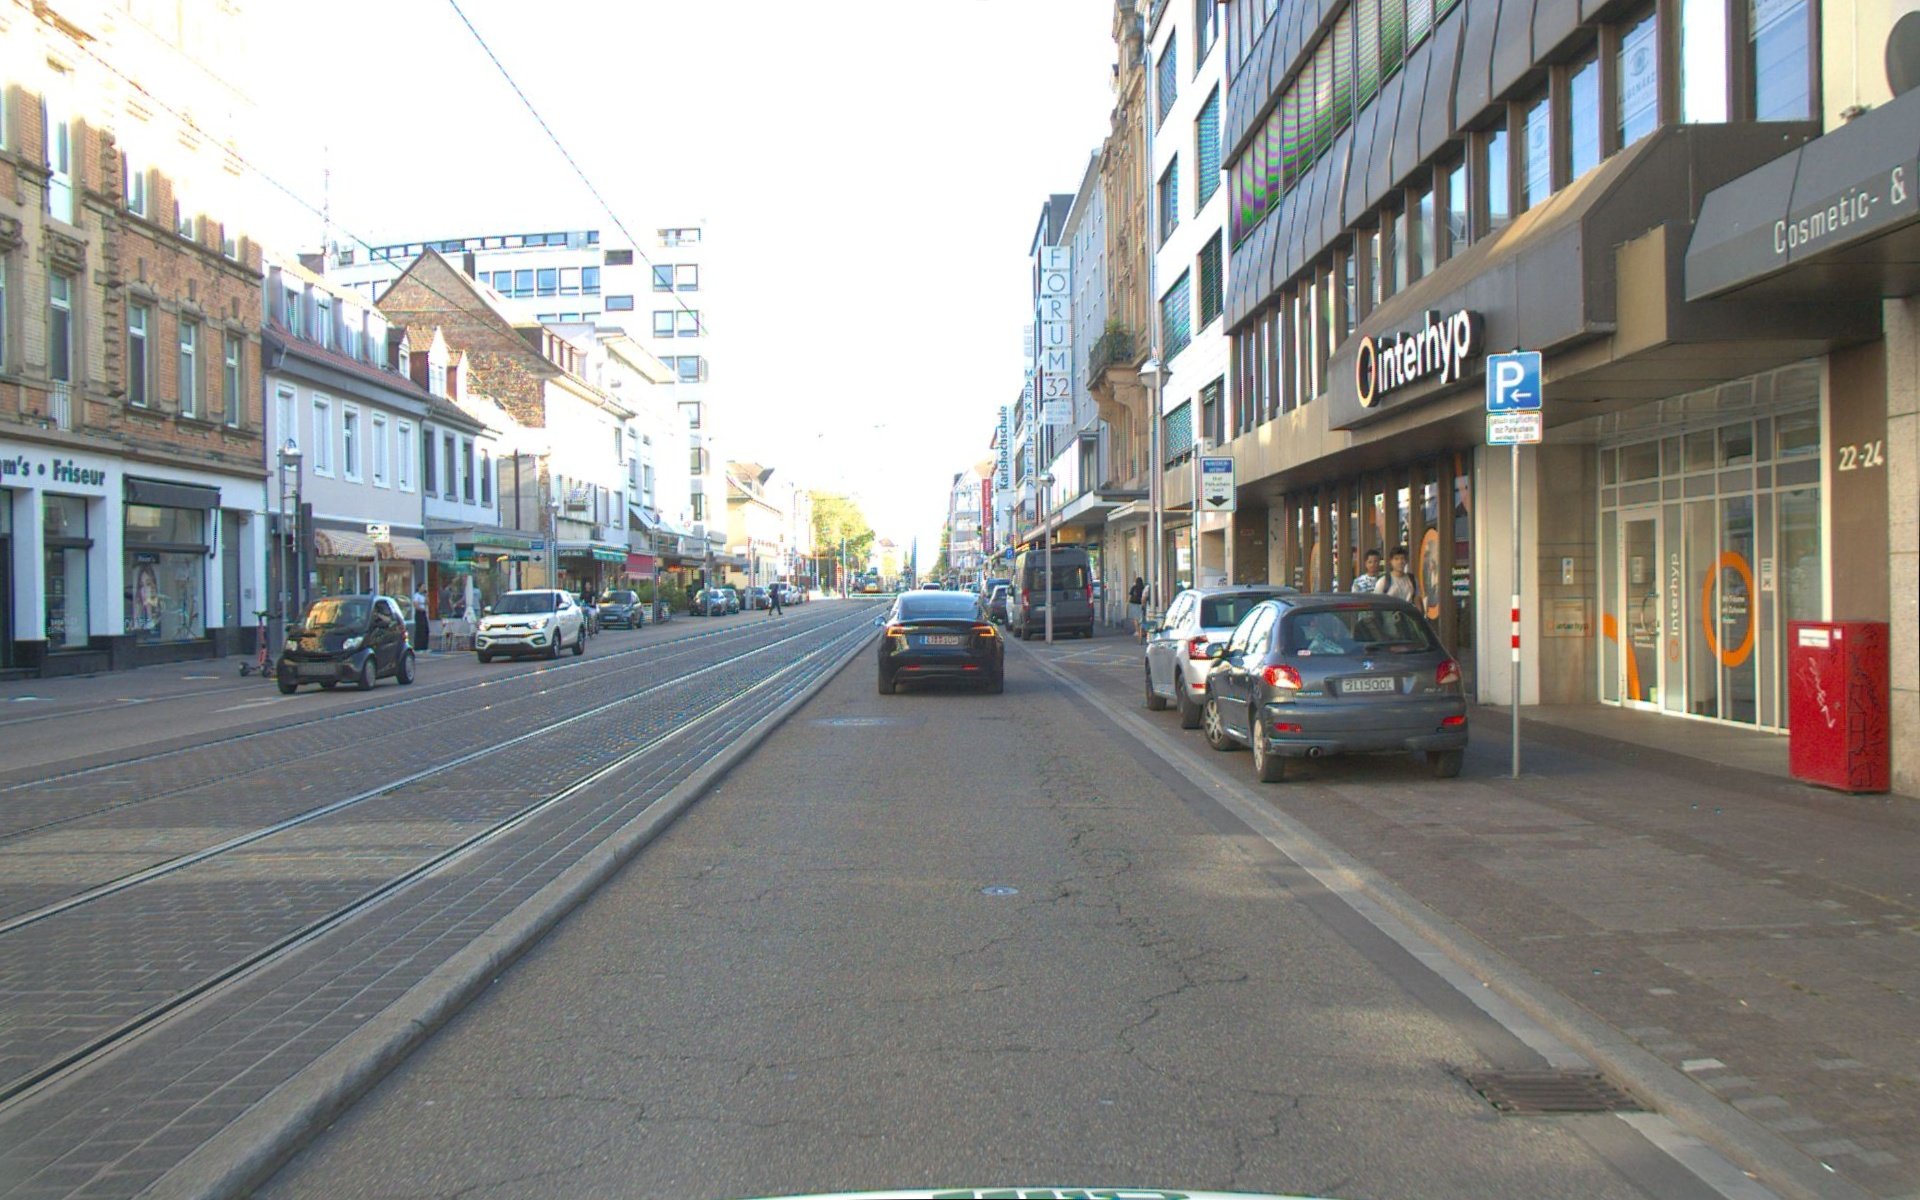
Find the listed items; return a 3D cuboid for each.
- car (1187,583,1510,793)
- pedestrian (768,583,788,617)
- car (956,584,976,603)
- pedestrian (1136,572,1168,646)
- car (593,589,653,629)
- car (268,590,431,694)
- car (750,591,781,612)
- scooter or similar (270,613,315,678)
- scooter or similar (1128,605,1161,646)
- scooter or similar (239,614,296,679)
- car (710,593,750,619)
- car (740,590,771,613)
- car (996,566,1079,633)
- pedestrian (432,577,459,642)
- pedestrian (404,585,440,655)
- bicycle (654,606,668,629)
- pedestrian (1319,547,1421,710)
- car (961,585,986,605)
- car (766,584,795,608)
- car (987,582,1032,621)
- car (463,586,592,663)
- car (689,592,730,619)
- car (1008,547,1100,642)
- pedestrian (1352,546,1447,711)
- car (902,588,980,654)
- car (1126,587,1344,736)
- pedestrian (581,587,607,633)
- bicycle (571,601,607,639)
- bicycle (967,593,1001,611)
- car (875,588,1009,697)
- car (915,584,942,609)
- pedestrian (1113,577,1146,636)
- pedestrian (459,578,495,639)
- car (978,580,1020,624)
[{"bbox_3d":[3.165,0.634,14.371,1.810,1.487,4.303,-2,0,1],"label":"car"},{"bbox_3d":[-10.249,-0.003,93.328,0.756,1.881,0.827,-1,0,28],"label":"pedestrian"},{"bbox_3d":[0.596,-0.656,164.059,1.953,1.784,3.999,-1,0,-1],"label":"car"},{"bbox_3d":[4.607,0.213,39.694,0.545,1.744,0.954,-3,0,-2],"label":"pedestrian"},{"bbox_3d":[-13.872,0.344,68.235,1.641,1.573,3.744,1,0,1],"label":"car"},{"bbox_3d":[-10.008,0.643,27.302,1.614,1.593,2.829,-1,0,0],"label":"car"},{"bbox_3d":[-14.758,0.116,125.618,1.733,1.534,3.972,-1,0,1],"label":"car"},{"bbox_3d":[-13.054,0.874,32.384,0.357,1.223,1.476,1,0,-4],"label":"scooter or similar"},{"bbox_3d":[4.523,0.617,40.653,0.581,0.952,1.298,-3,0,-3],"label":"scooter or similar"},{"bbox_3d":[-13.532,0.893,32.370,0.568,1.223,1.476,1,0,-4],"label":"scooter or similar"},{"bbox_3d":[-14.214,0.348,102.446,1.733,1.534,3.862,-1,0,3],"label":"car"},{"bbox_3d":[-14.782,0.114,119.876,1.682,1.599,3.850,-1,0,1],"label":"car"},{"bbox_3d":[2.517,-0.044,54.699,2.116,1.959,4.614,-4,1,-4],"label":"car"},{"bbox_3d":[-15.013,0.272,48.270,0.644,1.855,0.641,-1,0,-7],"label":"pedestrian"},{"bbox_3d":[-14.087,0.526,43.339,0.600,1.806,0.719,-1,0,12],"label":"pedestrian"},{"bbox_3d":[-13.590,0.768,75.099,0.363,1.019,1.596,-1,0,-19],"label":"bicycle"},{"bbox_3d":[4.914,0.330,19.884,0.904,1.874,0.999,-3,0,0],"label":"pedestrian"},{"bbox_3d":[1.063,-0.396,135.569,1.953,1.570,3.999,-1,0,-1],"label":"car"},{"bbox_3d":[-15.050,-0.356,138.992,1.968,1.995,4.723,-1,0,-1],"label":"car"},{"bbox_3d":[2.034,0.054,68.553,1.716,1.525,3.753,-1,1,0],"label":"car"},{"bbox_3d":[-9.991,0.525,38.529,1.851,1.622,4.262,-2,0,0],"label":"car"},{"bbox_3d":[-14.511,0.296,95.960,1.733,1.534,3.864,-1,0,0],"label":"car"},{"bbox_3d":[2.656,-0.182,48.155,2.127,2.504,5.360,-3,1,-2],"label":"car"},{"bbox_3d":[4.917,0.304,18.568,0.763,1.782,1.032,-1,0,0],"label":"pedestrian"},{"bbox_3d":[-0.468,0.474,39.158,1.726,1.443,4.353,-1,0,-1],"label":"car"},{"bbox_3d":[3.052,0.617,19.190,1.710,1.487,4.295,-1,0,-1],"label":"car"},{"bbox_3d":[-11.764,0.320,53.172,0.611,1.469,0.874,-1,-1,4],"label":"pedestrian"},{"bbox_3d":[-11.848,0.627,52.859,0.566,1.135,1.954,-1,0,4],"label":"bicycle"},{"bbox_3d":[1.543,0.155,106.758,2.116,1.116,0.686,-1,0,-4],"label":"bicycle"},{"bbox_3d":[-0.259,0.571,24.865,1.831,1.452,4.364,0,1,0],"label":"car"},{"bbox_3d":[-2.447,-0.326,129.816,2.042,1.903,3.753,0,1,-1],"label":"car"},{"bbox_3d":[4.699,0.176,45.960,0.753,1.570,0.804,-3,0,-1],"label":"pedestrian"},{"bbox_3d":[-14.320,0.250,49.048,0.868,1.806,0.688,-1,0,-3],"label":"pedestrian"},{"bbox_3d":[1.750,0.054,74.686,1.784,1.903,3.753,0,1,-1],"label":"car"}]
